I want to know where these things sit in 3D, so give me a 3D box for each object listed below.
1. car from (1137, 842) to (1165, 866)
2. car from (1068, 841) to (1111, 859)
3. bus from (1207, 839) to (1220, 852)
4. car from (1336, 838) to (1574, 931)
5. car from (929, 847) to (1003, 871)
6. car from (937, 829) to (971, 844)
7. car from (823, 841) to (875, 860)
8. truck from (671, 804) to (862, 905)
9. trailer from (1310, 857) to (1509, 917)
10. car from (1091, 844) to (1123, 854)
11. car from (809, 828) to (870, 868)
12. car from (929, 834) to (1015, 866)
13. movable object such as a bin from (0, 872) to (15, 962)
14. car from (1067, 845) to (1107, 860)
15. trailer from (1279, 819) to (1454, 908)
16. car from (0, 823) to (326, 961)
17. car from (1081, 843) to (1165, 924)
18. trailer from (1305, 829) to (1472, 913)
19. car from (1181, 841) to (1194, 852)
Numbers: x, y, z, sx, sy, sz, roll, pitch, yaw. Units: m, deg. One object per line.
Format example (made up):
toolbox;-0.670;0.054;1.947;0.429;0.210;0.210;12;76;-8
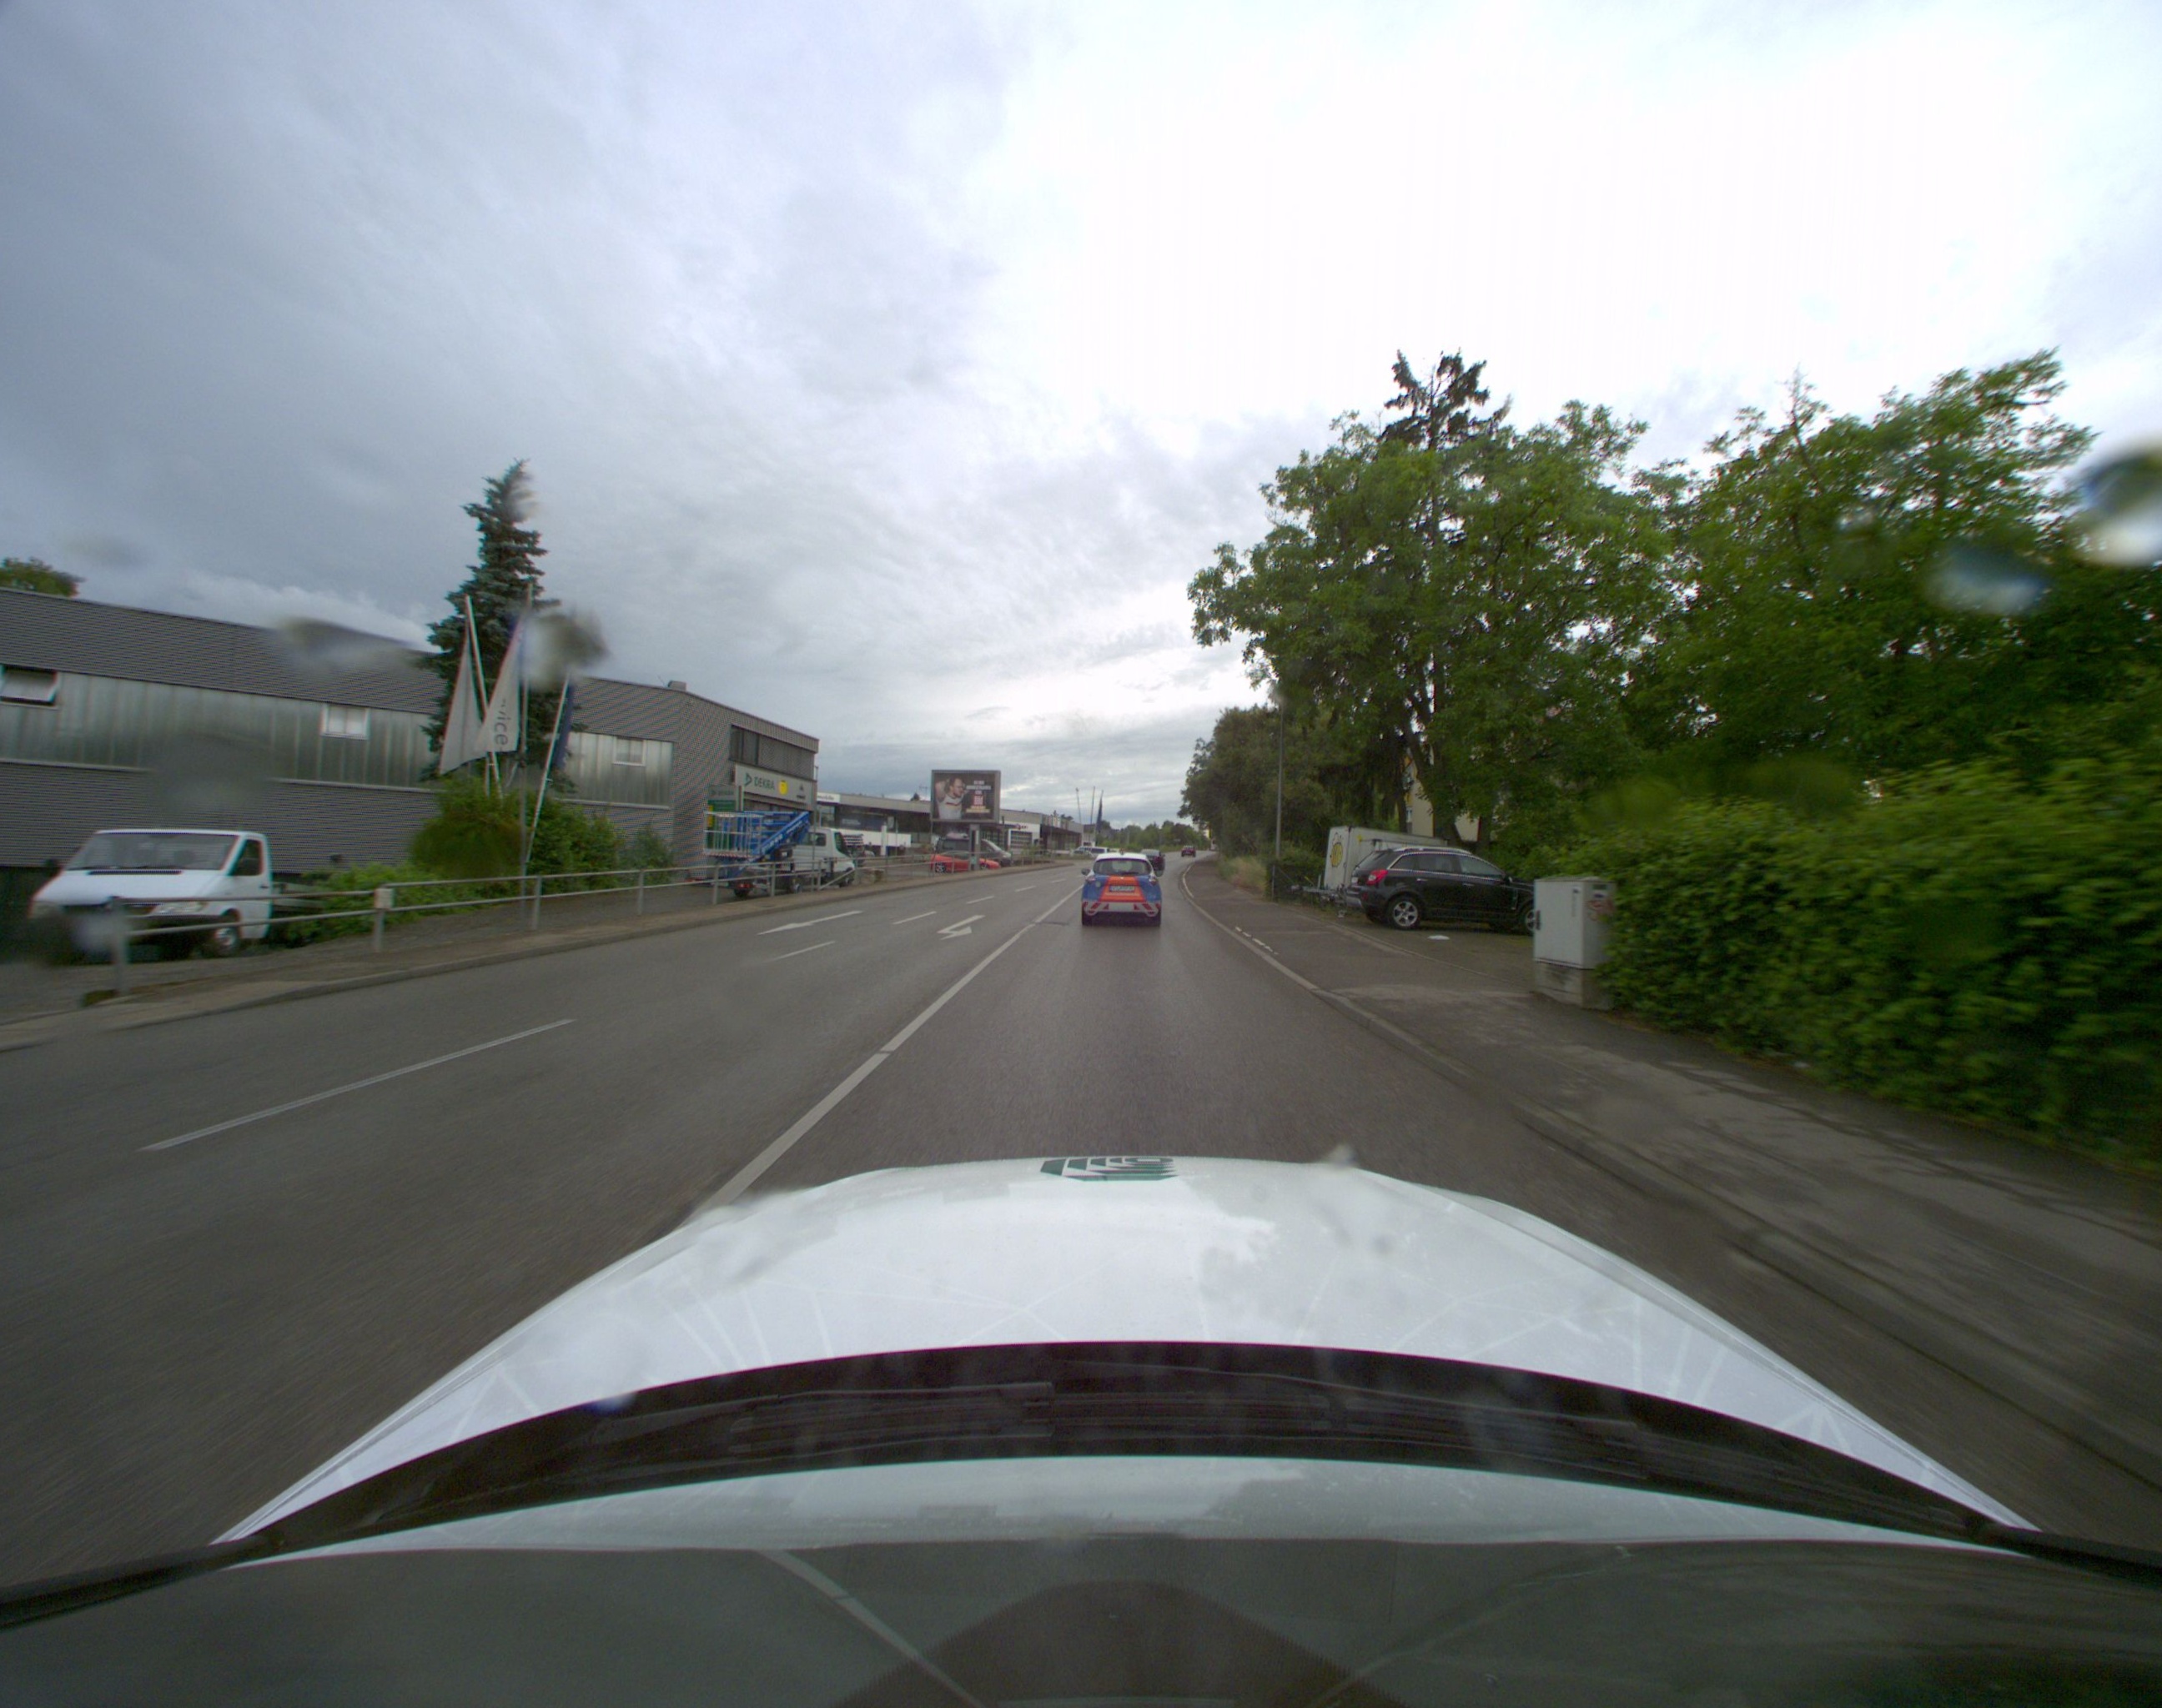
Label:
car;4.855;0.011;56.047;1.793;1.590;3.569;1;0;6
car;0.934;-0.433;89.585;4.386;1.797;1.939;1;1;9
bus;35.307;-2.198;217.498;2.896;3.169;11.485;1;0;6
car;7.861;0.597;17.489;4.194;1.749;1.986;2;1;4
car;-6.739;0.284;48.042;4.082;1.267;1.768;1;0;-3
car;-13.406;-1.838;85.866;1.803;1.478;4.042;1;1;19
car;-18.687;-0.296;65.559;4.053;1.427;1.901;2;1;35
truck;-9.291;-0.103;25.220;1.983;2.632;7.910;1;2;7
trailer;8.198;0.803;20.567;4.380;1.288;1.573;2;1;2
car;3.466;-0.683;108.043;4.041;1.291;1.808;1;1;7
car;-13.150;-0.349;44.196;2.006;1.987;4.830;2;1;-31
car;-6.804;-0.234;51.087;5.048;1.870;1.824;1;0;1
movable object such as a bin;-24.116;1.265;16.615;1.670;2.014;3.956;1;-6;-35
car;0.626;-0.157;86.859;3.985;1.478;1.829;1;1;9
trailer;8.551;0.272;24.648;4.527;2.400;1.946;3;0;-5
car;-14.636;0.499;13.351;2.067;1.871;4.247;1;0;-25
car;0.921;0.613;18.498;1.651;1.593;3.570;2;0;2
trailer;8.423;0.441;22.538;3.937;2.021;1.688;3;0;2
car;14.223;-1.031;108.695;1.605;1.407;3.505;1;0;8
